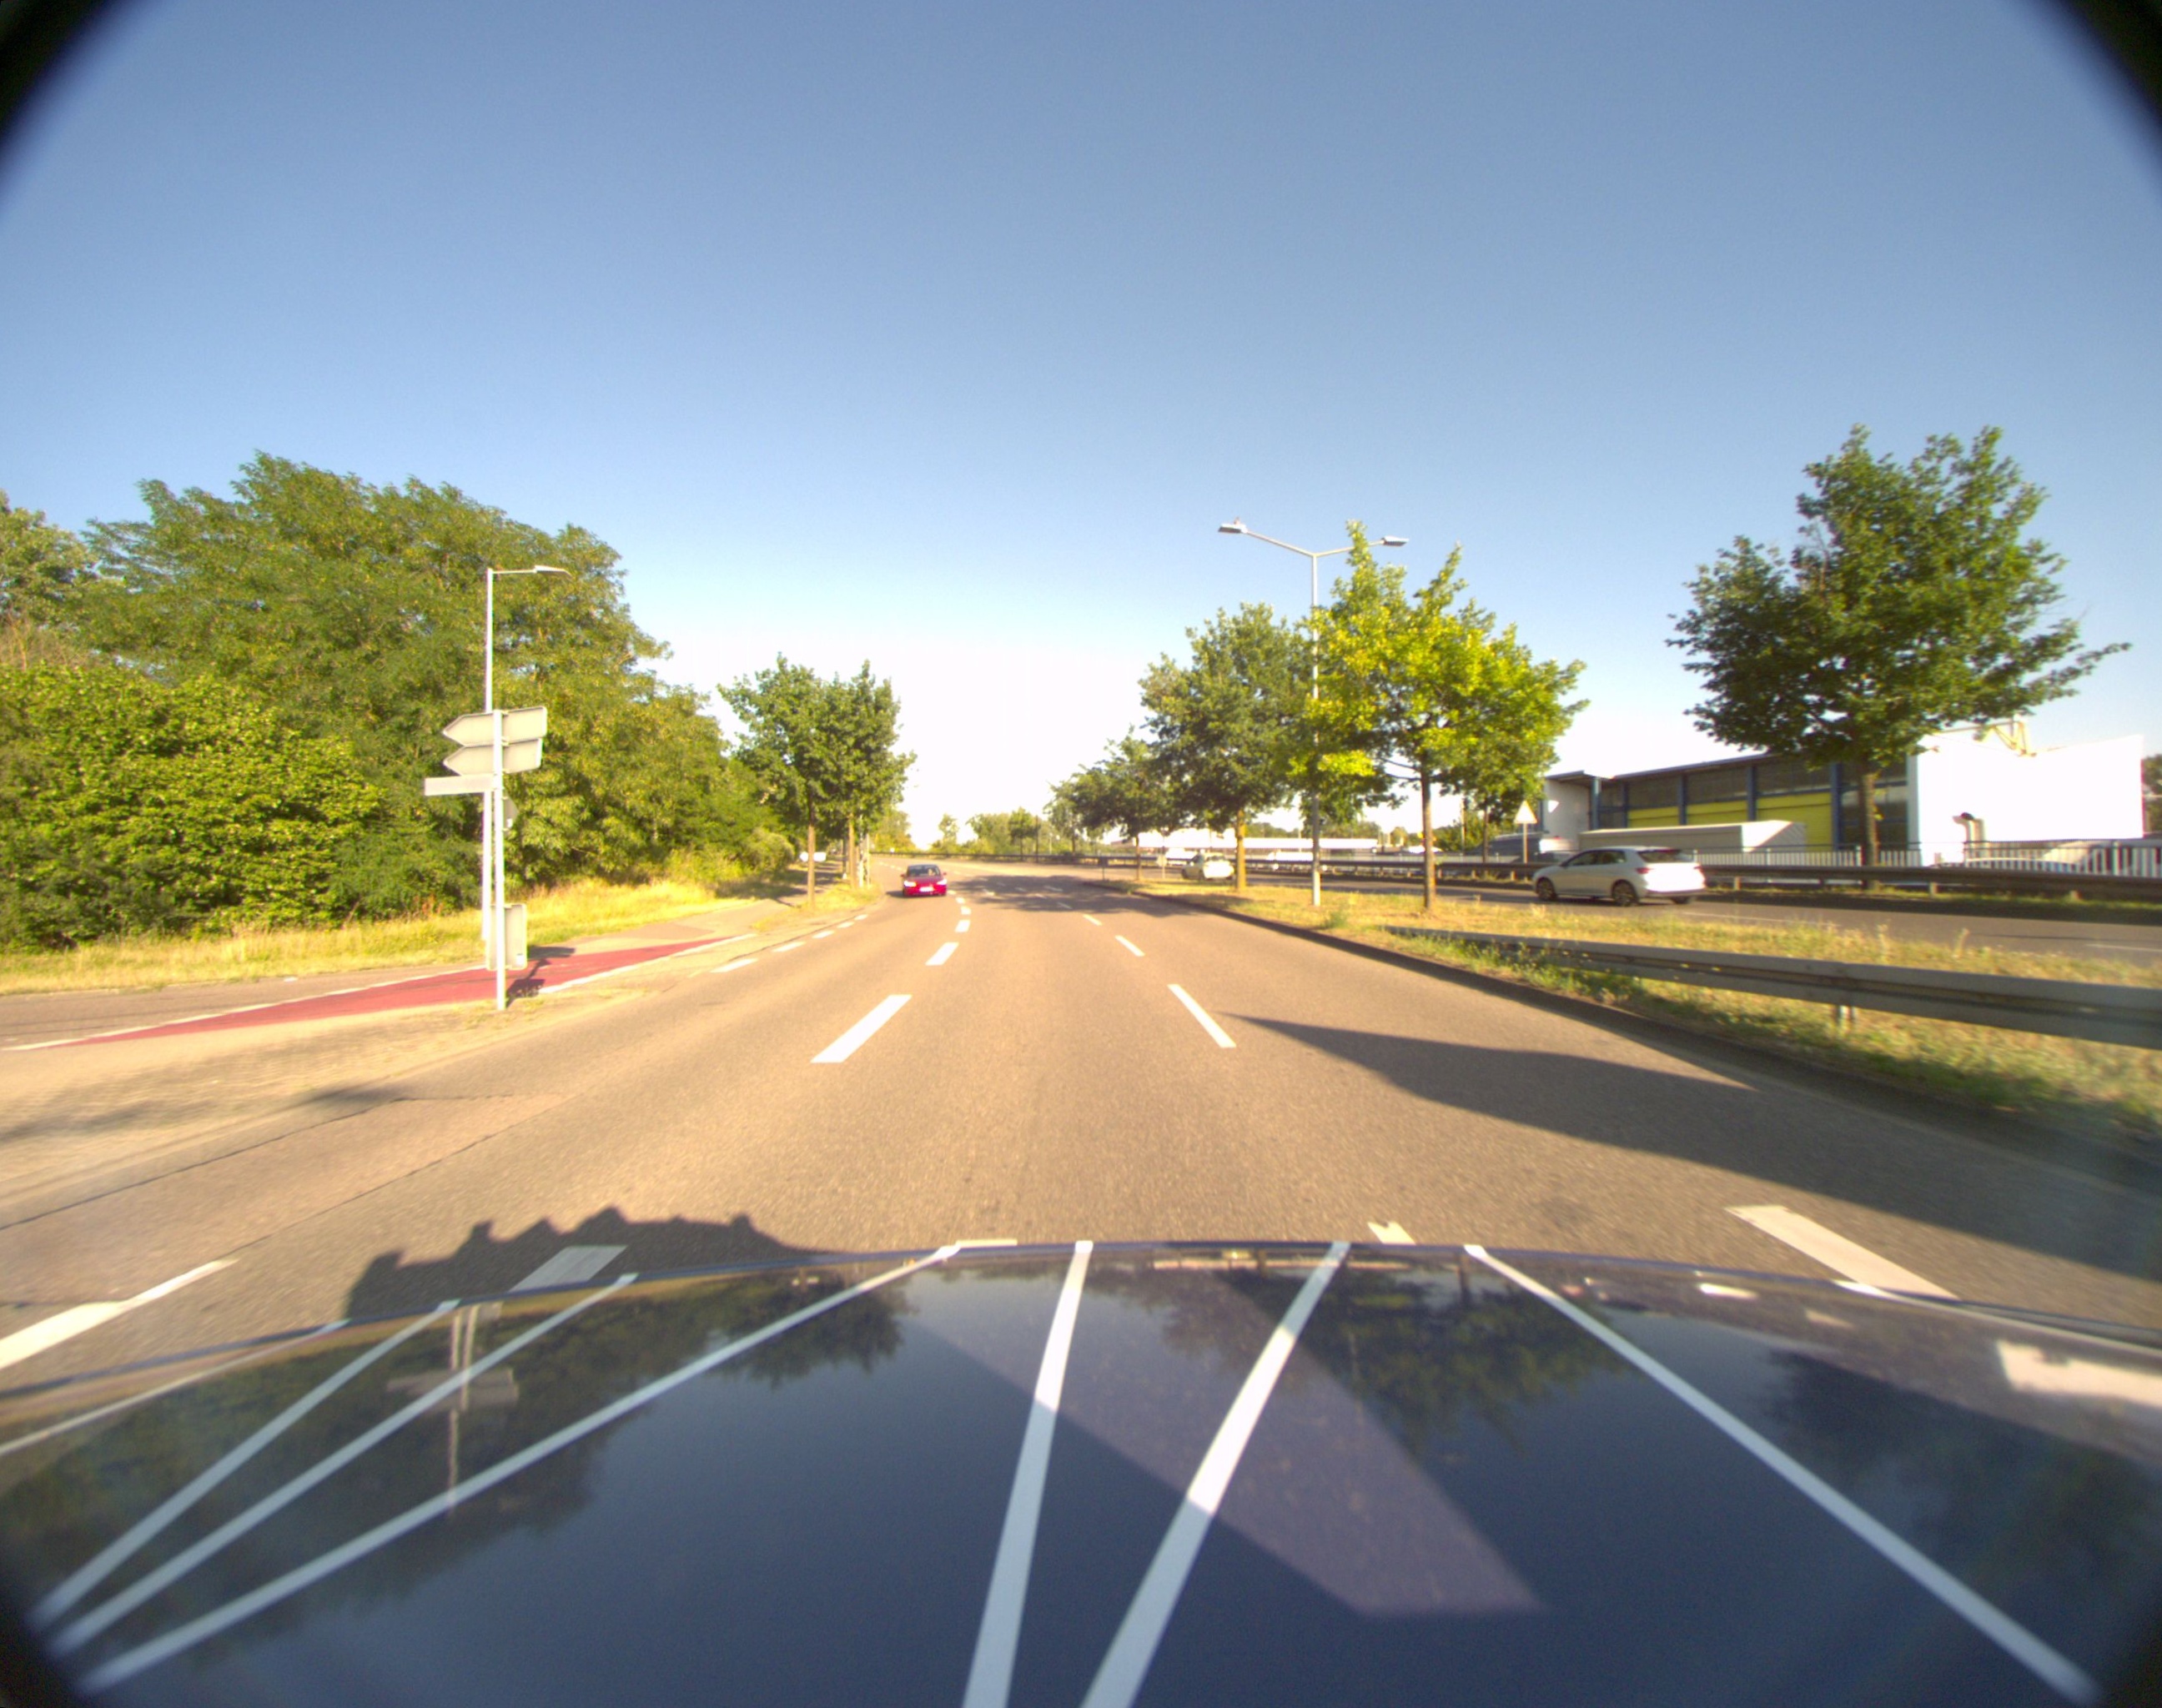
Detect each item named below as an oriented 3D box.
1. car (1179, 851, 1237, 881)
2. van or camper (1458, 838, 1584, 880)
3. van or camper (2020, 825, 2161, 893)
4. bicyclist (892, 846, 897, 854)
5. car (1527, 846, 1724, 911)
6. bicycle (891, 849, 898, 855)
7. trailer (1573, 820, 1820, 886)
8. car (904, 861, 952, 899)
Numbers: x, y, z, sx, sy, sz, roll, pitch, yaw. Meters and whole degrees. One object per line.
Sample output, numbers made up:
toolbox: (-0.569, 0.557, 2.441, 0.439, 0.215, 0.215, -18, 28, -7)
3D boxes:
car: (6.770, 0.621, 40.885, 1.747, 1.454, 3.761, -2, 0, -13)
van or camper: (19.024, 0.185, 33.192, 2.000, 1.676, 4.955, -1, 0, -11)
van or camper: (31.065, 0.113, 22.111, 4.219, 1.915, 2.003, 0, 2, 23)
bicyclist: (-33.772, -0.692, 137.648, 0.602, 1.451, 0.826, 2, 1, -28)
car: (13.532, 0.539, 19.213, 1.678, 1.454, 4.102, -1, 1, -8)
bicycle: (-33.815, -0.310, 137.737, 0.585, 1.070, 2.307, 2, 1, -28)
trailer: (20.586, -0.050, 26.018, 2.427, 1.958, 6.599, -1, 0, -10)
car: (-7.031, 1.114, 34.559, 1.784, 1.434, 4.352, -1, 2, -16)
